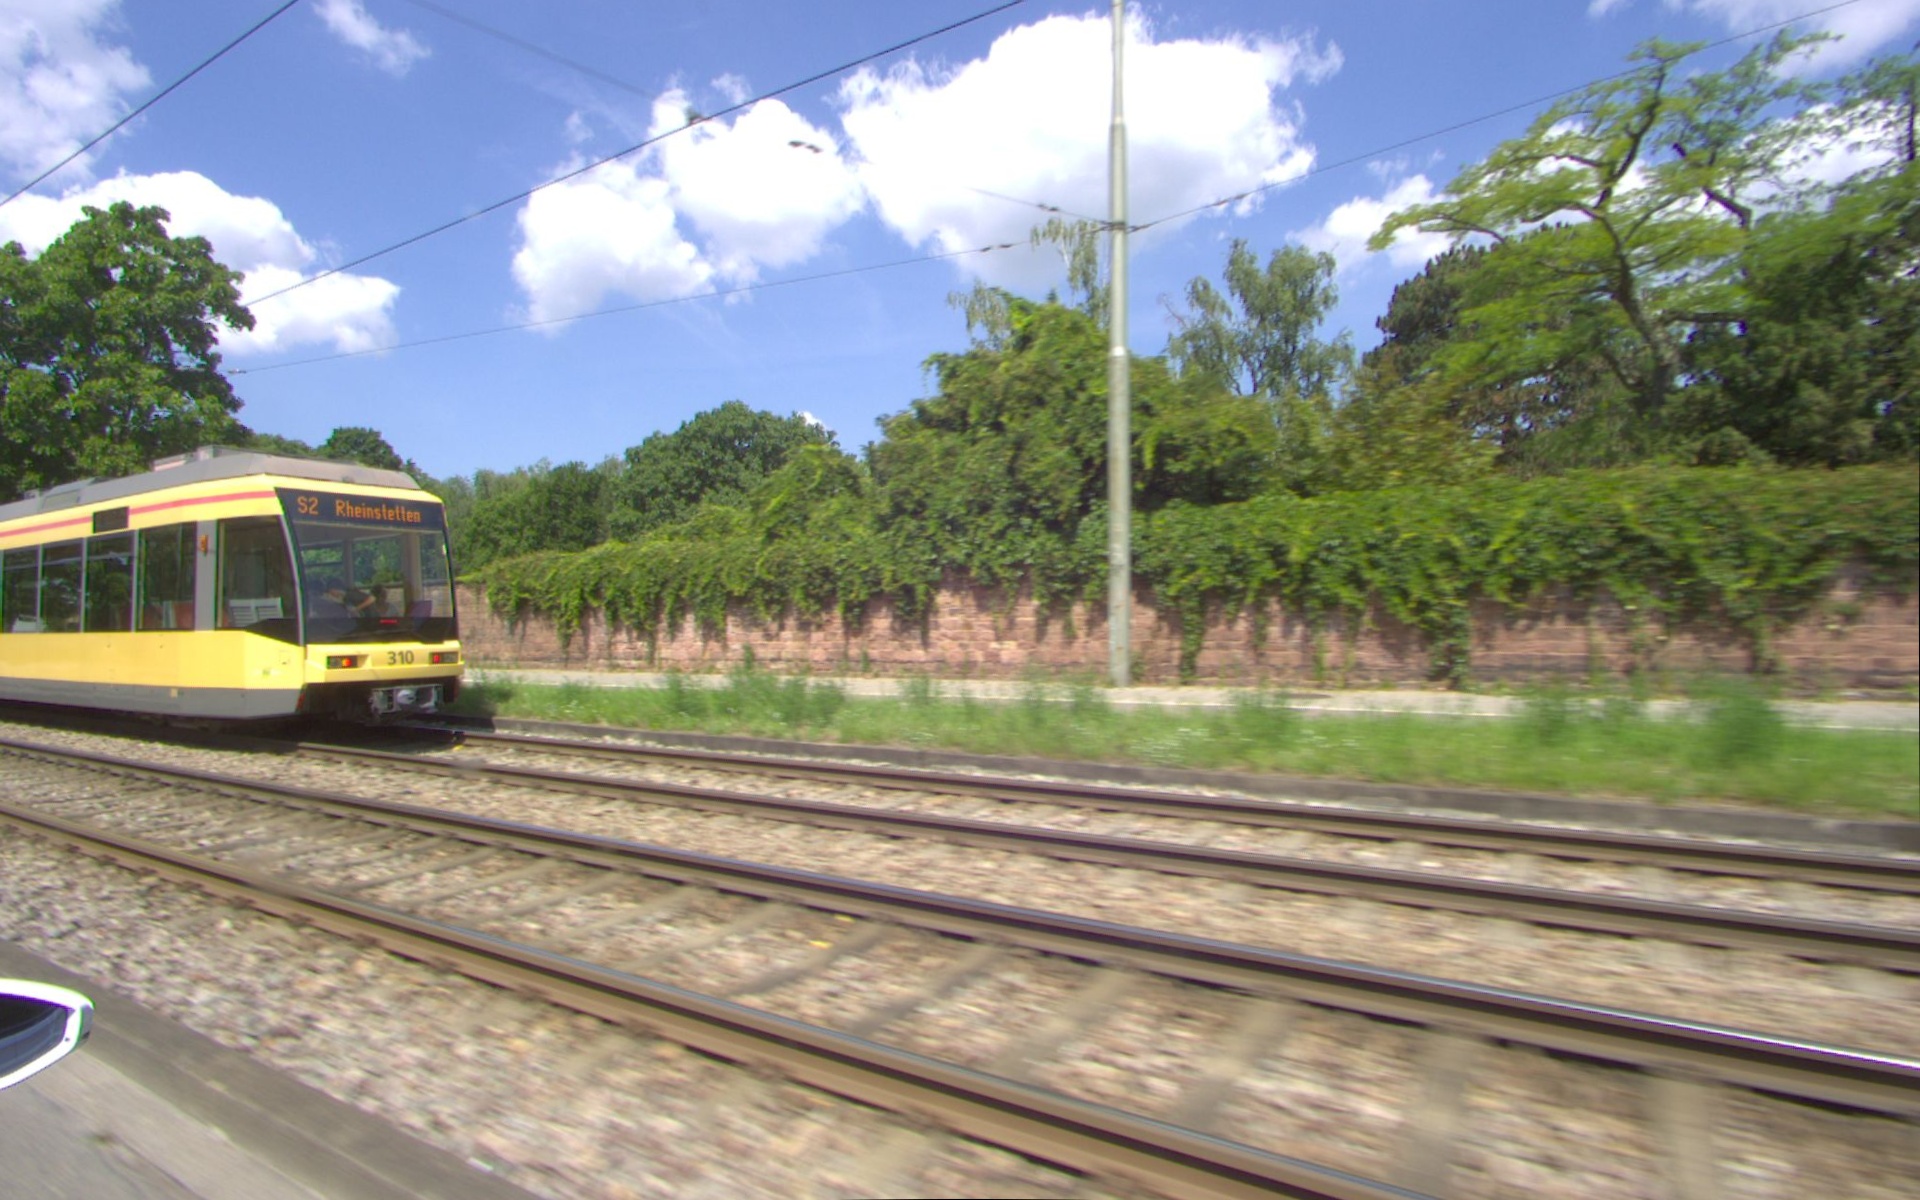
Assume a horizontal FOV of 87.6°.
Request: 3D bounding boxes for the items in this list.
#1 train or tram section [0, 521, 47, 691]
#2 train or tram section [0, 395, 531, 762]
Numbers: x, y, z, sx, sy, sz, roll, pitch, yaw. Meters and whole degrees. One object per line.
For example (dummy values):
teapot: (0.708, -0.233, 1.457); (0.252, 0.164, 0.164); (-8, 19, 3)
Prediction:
train or tram section: (-29.909, 0.271, 26.718); (19.992, 3.739, 2.938); (-1, -1, 32)
train or tram section: (-13.815, -0.046, 16.389); (18.130, 3.739, 2.938); (-1, -1, 33)
